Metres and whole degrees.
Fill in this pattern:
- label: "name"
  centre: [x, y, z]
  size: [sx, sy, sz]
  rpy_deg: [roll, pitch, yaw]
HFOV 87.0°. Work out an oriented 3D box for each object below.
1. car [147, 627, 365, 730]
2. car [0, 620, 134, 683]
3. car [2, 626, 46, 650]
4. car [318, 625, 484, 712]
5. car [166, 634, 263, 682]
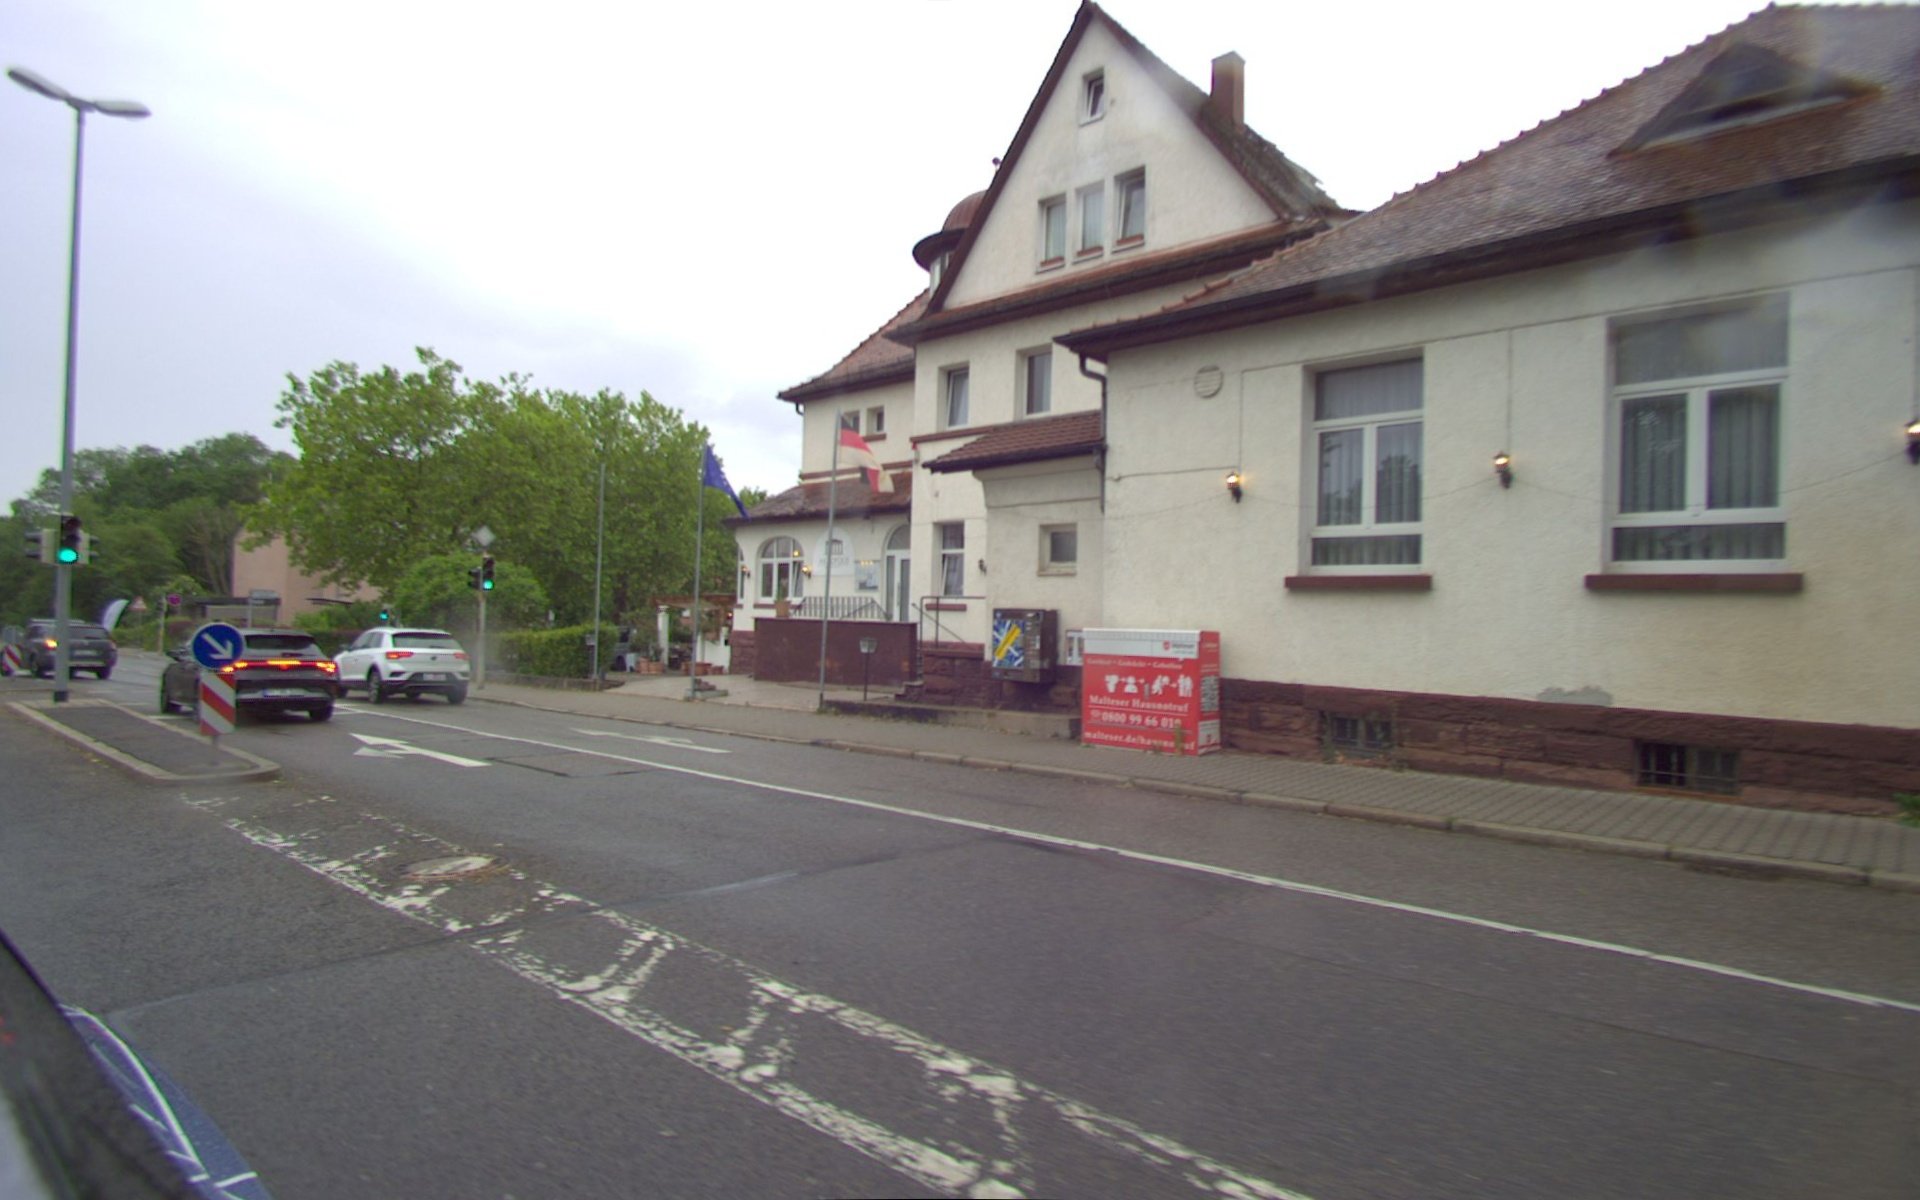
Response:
- label: "car"
  centre: [-11.470, 1.217, 16.375]
  size: [4.388, 1.440, 1.971]
  rpy_deg: [-2, -5, 43]
- label: "car"
  centre: [-25.805, 1.463, 28.985]
  size: [4.288, 1.674, 1.978]
  rpy_deg: [-1, -3, 32]
- label: "car"
  centre: [-66.237, 2.700, 71.604]
  size: [4.304, 1.674, 1.971]
  rpy_deg: [-2, -4, 43]
- label: "car"
  centre: [-12.075, 1.441, 21.775]
  size: [4.000, 1.697, 1.971]
  rpy_deg: [-3, -4, 43]
- label: "car"
  centre: [-24.084, 1.858, 32.636]
  size: [4.106, 1.431, 1.747]
  rpy_deg: [-2, -6, 44]
